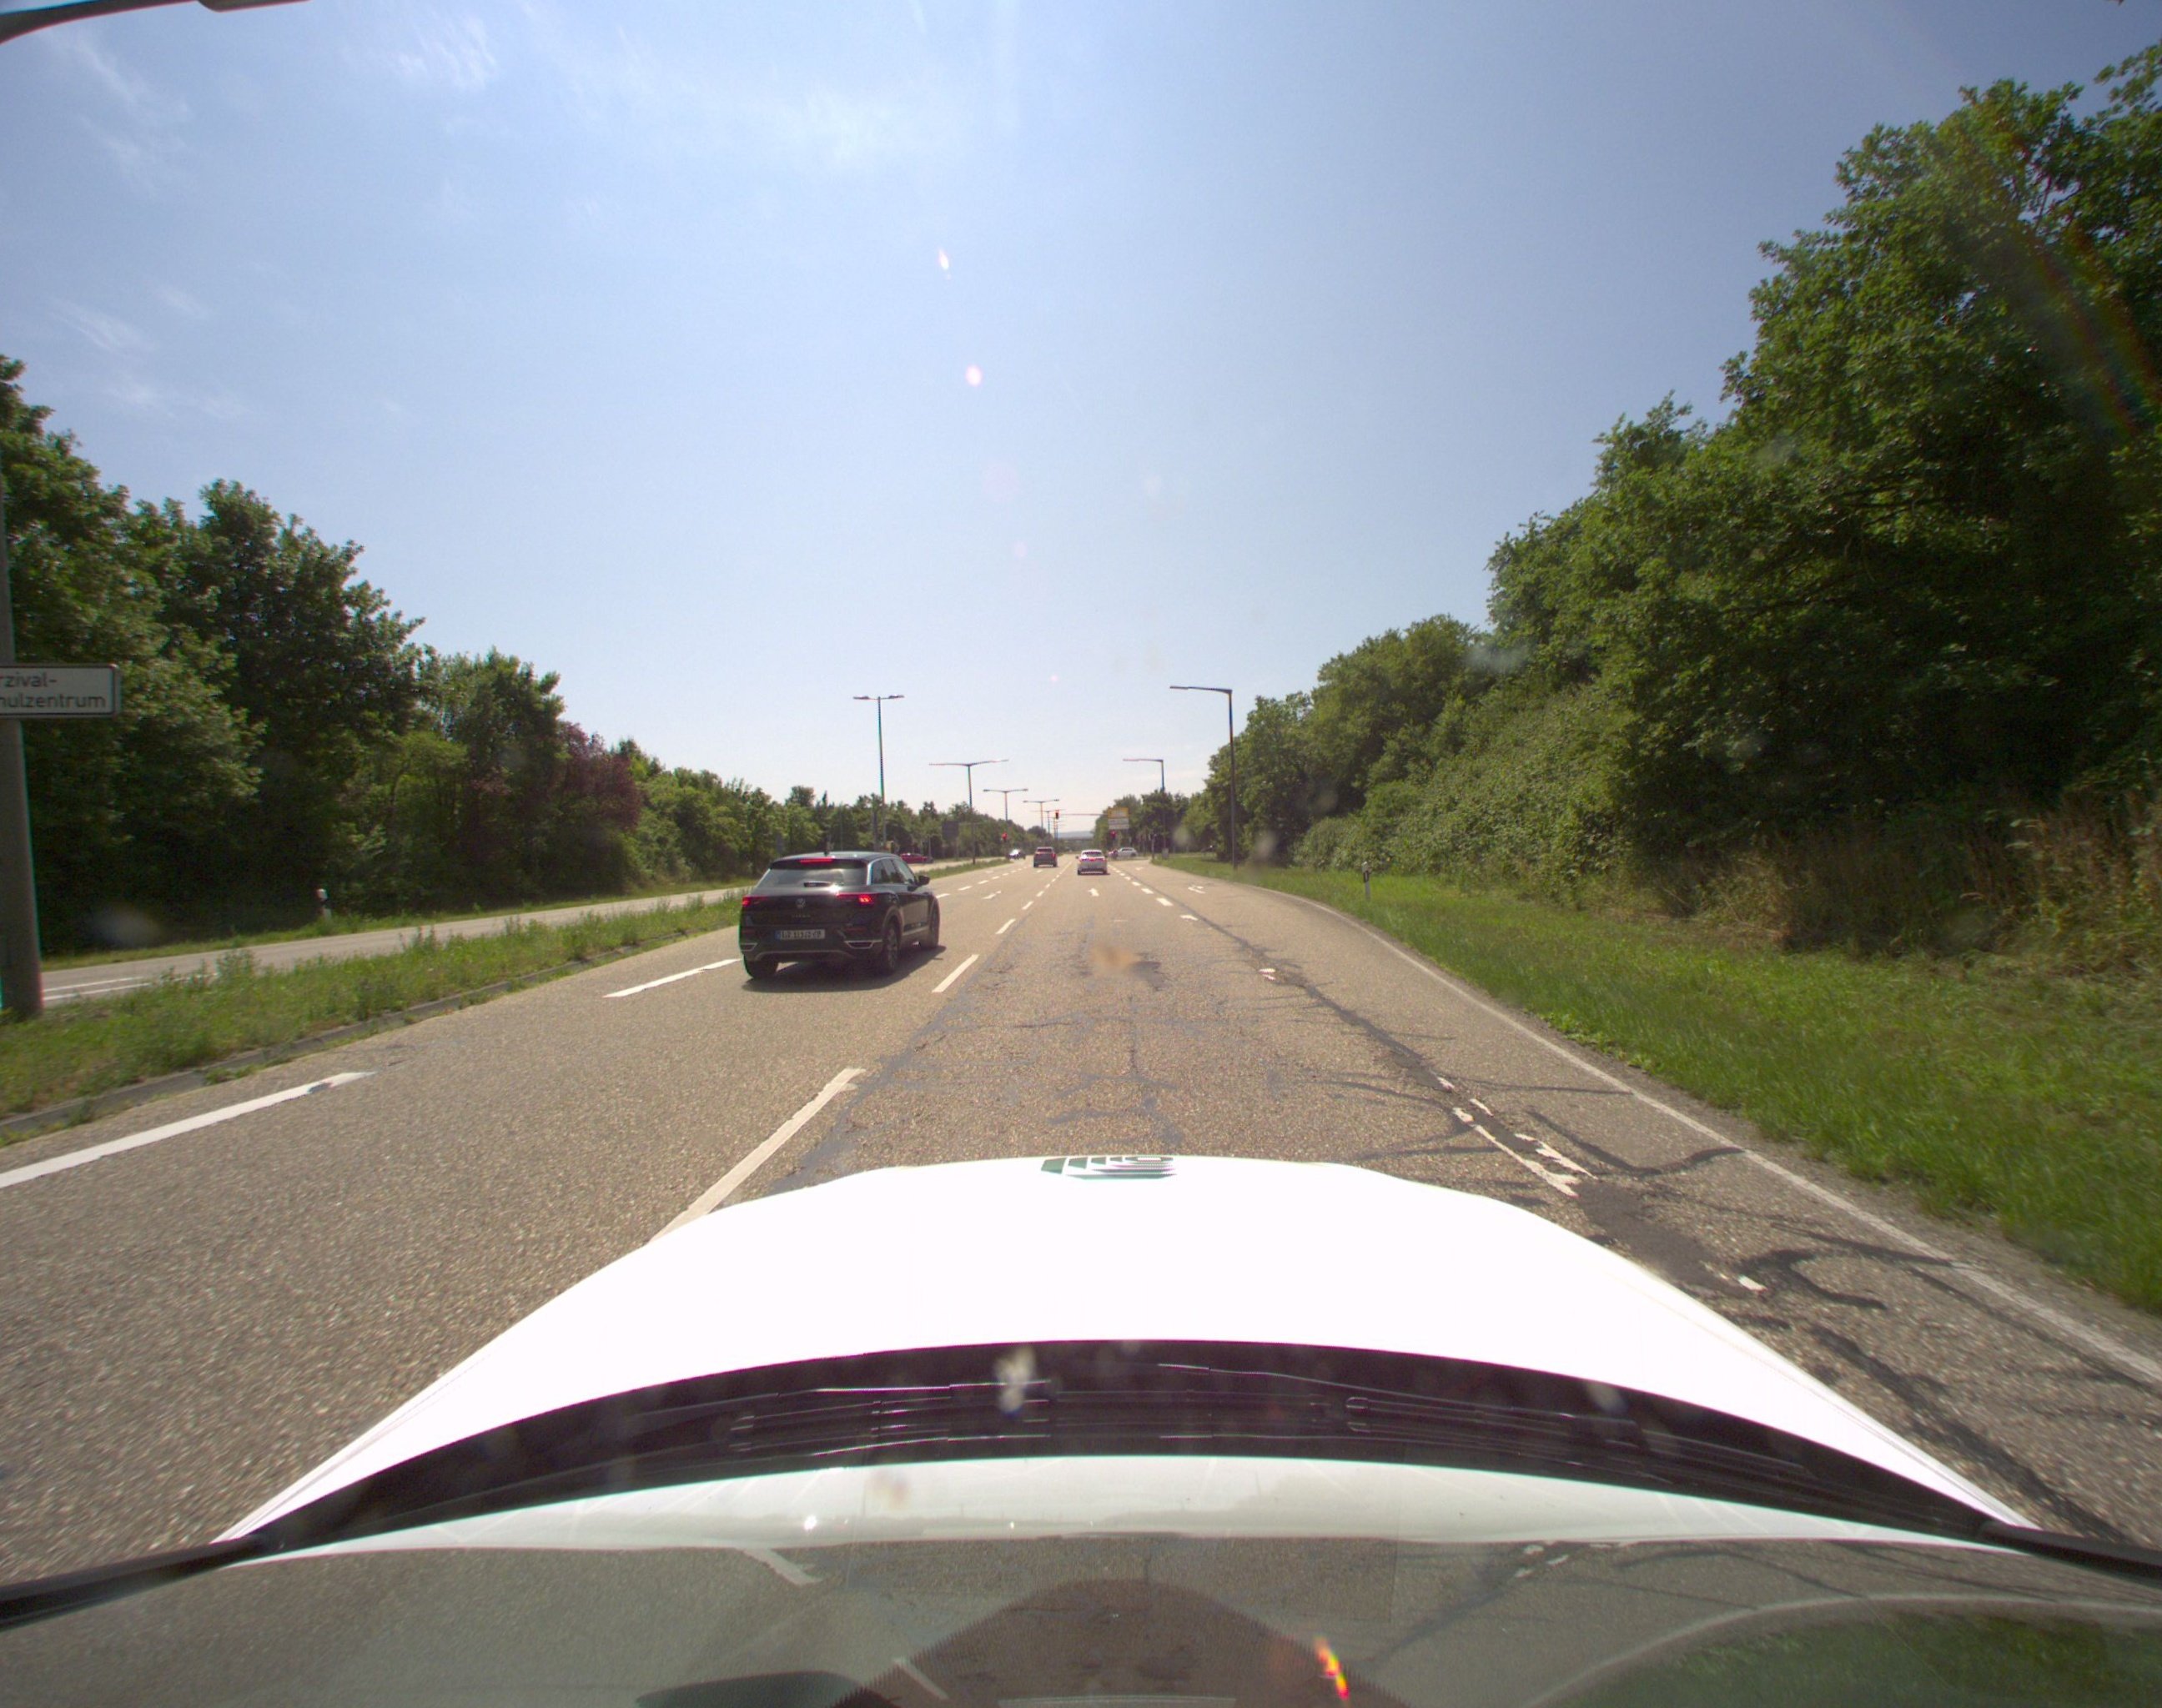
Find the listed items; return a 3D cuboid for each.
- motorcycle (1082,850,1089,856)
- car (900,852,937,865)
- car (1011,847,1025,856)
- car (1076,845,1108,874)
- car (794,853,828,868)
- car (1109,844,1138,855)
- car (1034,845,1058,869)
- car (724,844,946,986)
[{"bbox_3d":[1.018,-0.251,170.559,1.420,1.281,2.569,-3,0,0],"label":"motorcycle"},{"bbox_3d":[-20.799,0.559,104.198,4.520,1.641,1.972,-1,0,-8],"label":"car"},{"bbox_3d":[-10.507,-0.456,135.458,1.820,1.519,4.003,-1,0,3],"label":"car"},{"bbox_3d":[0.674,0.292,48.283,1.790,1.583,4.002,-2,0,2],"label":"car"},{"bbox_3d":[-35.246,0.880,106.567,3.990,1.830,1.992,-1,0,-12],"label":"car"},{"bbox_3d":[6.347,-0.659,121.372,4.099,1.525,1.933,-2,0,-8],"label":"car"},{"bbox_3d":[-2.978,0.264,69.236,1.749,1.928,4.000,-1,0,1],"label":"car"},{"bbox_3d":[-3.107,0.685,11.193,1.749,1.556,4.000,-1,0,1],"label":"car"}]
